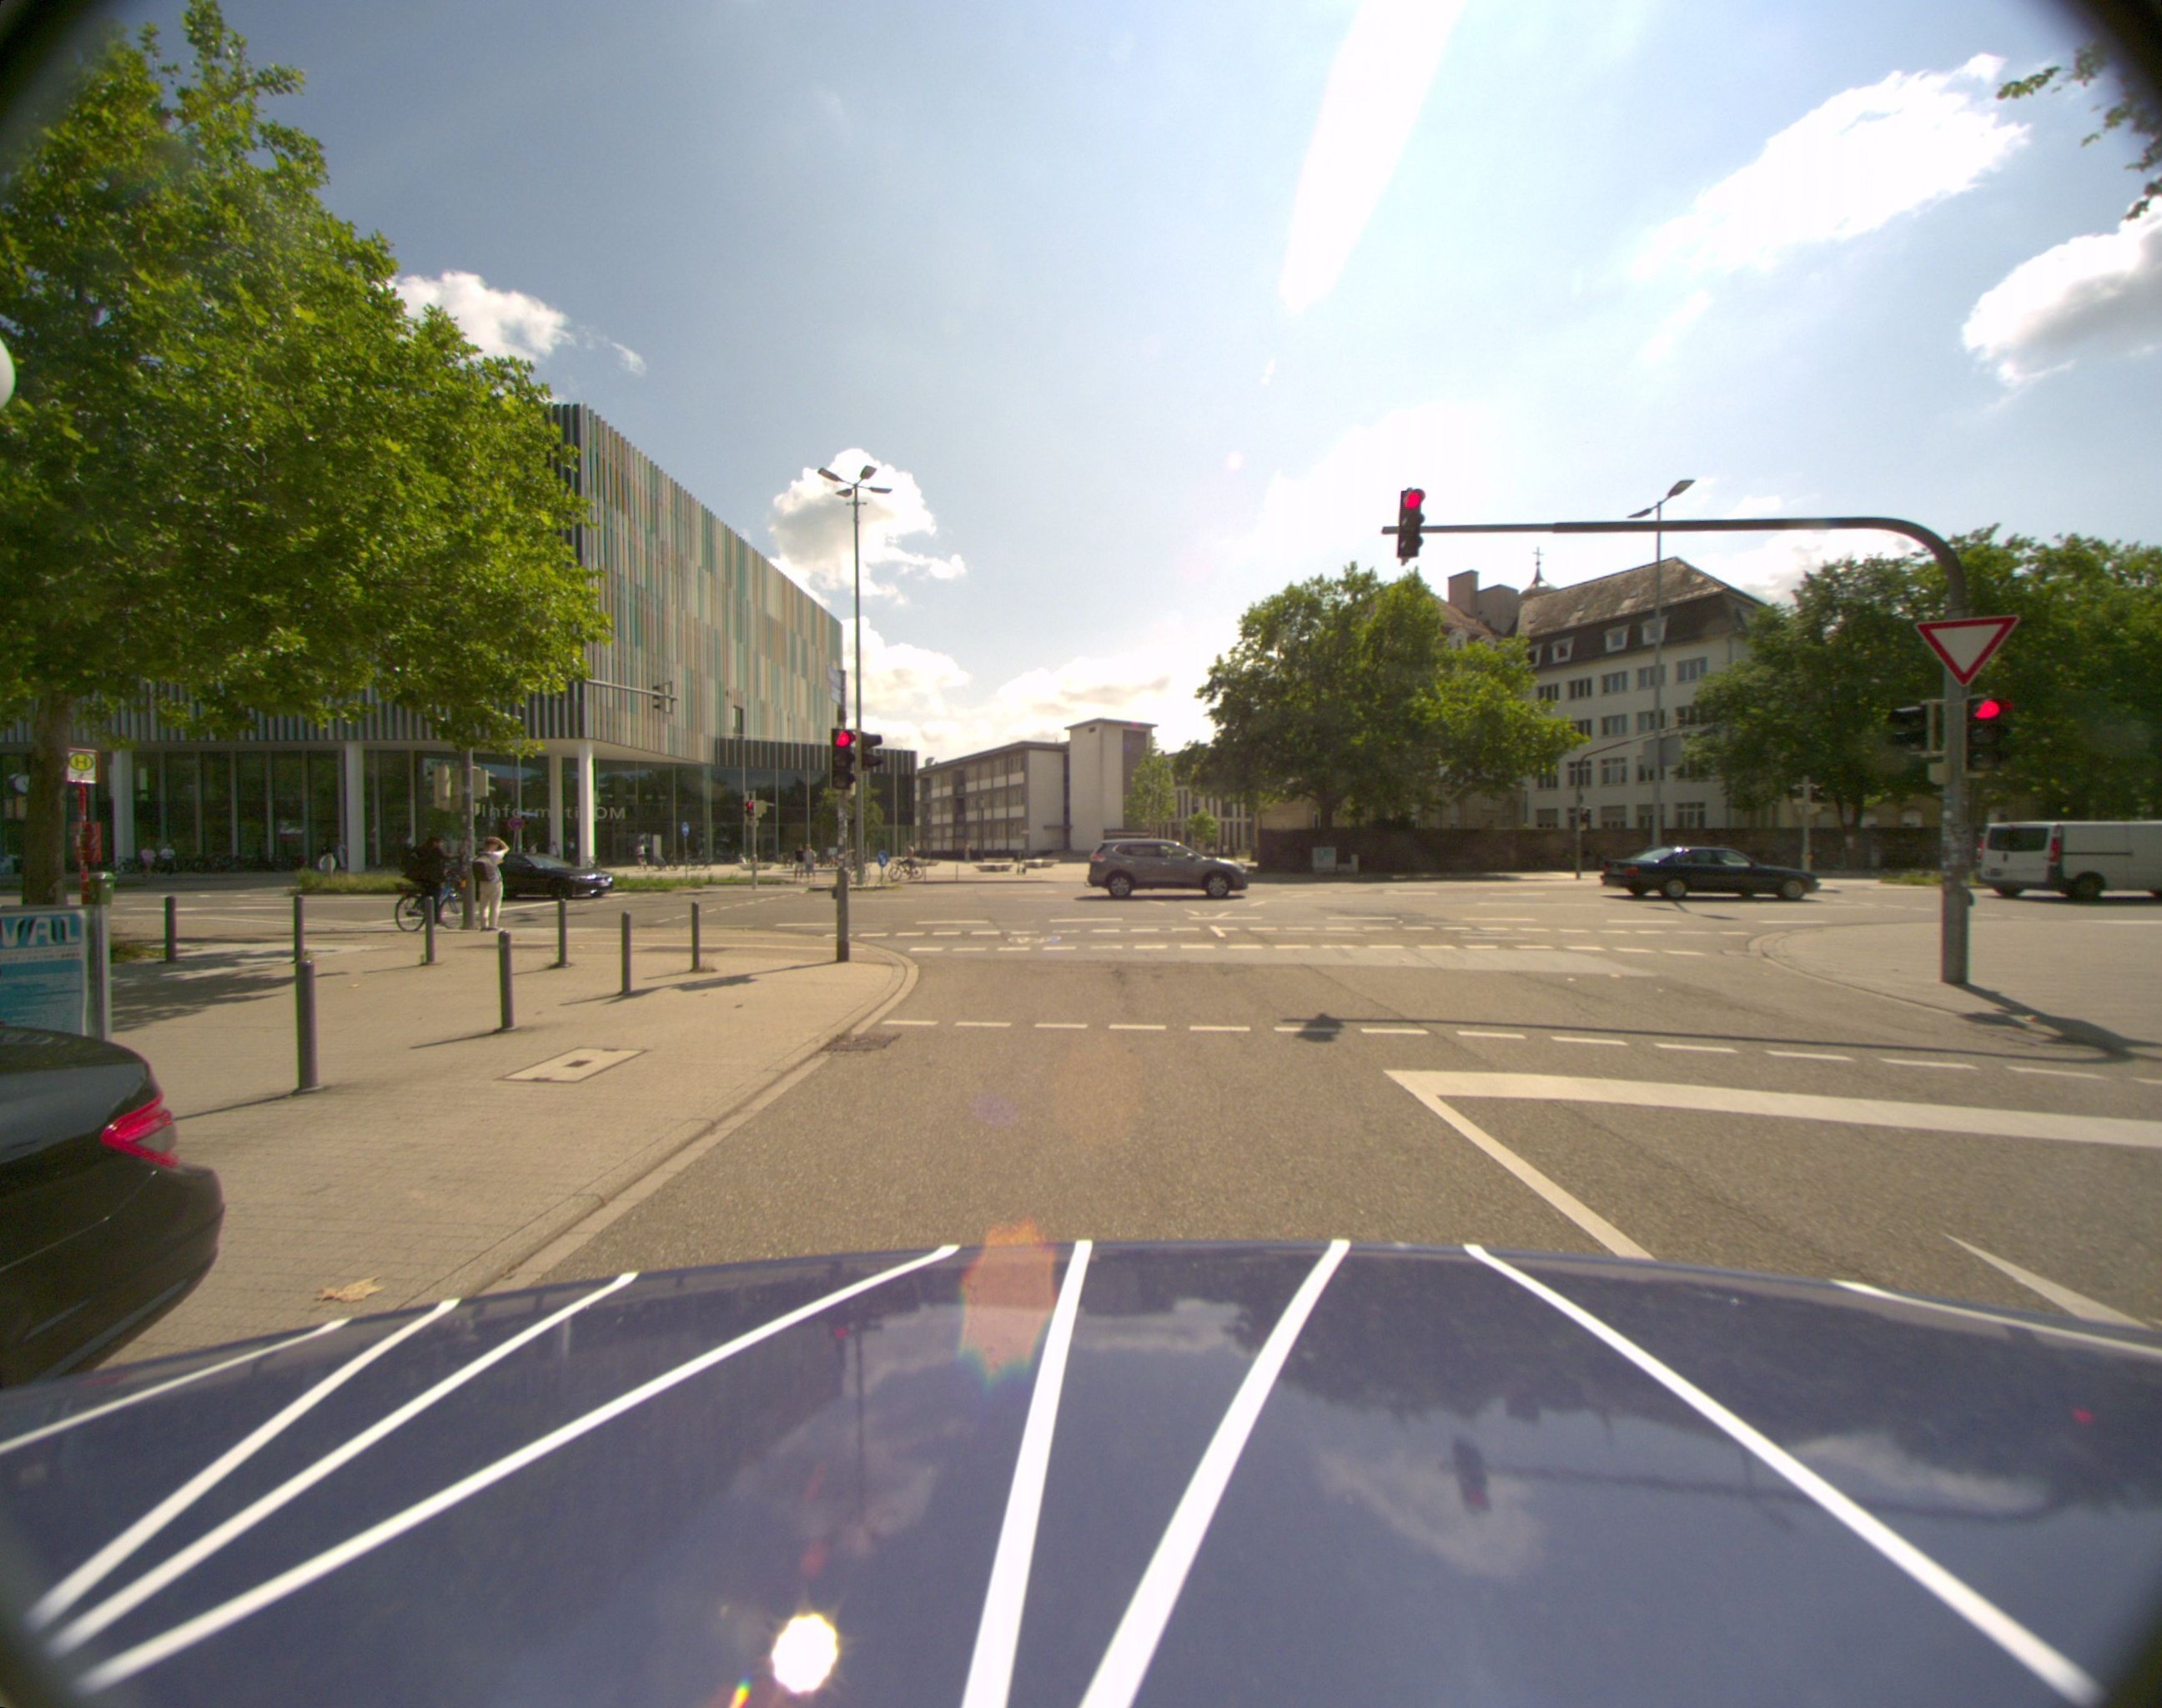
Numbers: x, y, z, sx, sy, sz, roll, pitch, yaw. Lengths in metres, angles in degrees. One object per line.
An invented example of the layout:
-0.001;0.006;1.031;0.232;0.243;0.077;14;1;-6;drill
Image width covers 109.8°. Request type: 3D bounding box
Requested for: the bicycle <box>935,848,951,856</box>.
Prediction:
-15.852;-0.219;87.485;1.776;0.950;0.527;-1;3;-26;bicycle

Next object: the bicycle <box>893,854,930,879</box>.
-8.299;0.600;37.203;1.673;1.118;0.694;-1;2;-23;bicycle

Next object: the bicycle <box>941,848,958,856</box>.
-14.873;-0.222;85.829;1.776;0.950;0.527;-1;3;-26;bicycle

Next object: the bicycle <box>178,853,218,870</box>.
-54.553;0.459;46.949;0.373;0.950;1.548;0;3;17;bicycle

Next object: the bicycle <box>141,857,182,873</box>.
-57.296;0.680;47.349;0.373;0.950;1.548;0;3;17;bicycle

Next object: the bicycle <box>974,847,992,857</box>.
-10.151;-0.188;78.417;1.776;0.950;0.527;-1;3;-26;bicycle

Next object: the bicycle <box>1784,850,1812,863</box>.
38.790;0.132;41.113;0.409;0.678;1.004;-3;4;-36;bicycle

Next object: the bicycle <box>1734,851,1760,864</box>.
35.735;0.183;40.773;0.409;0.678;1.004;-3;4;-36;bicycle

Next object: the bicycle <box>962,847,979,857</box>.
-11.706;-0.219;80.493;1.776;0.950;0.527;-1;3;-26;bicycle

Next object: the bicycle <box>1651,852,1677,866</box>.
30.852;0.252;40.219;0.409;0.678;1.004;-3;4;-36;bicycle

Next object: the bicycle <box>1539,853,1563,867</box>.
24.745;0.317;40.028;0.409;0.678;1.005;-2;3;-23;bicycle

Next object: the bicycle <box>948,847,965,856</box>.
-13.841;-0.232;84.316;1.776;0.950;0.527;-1;3;-26;bicycle

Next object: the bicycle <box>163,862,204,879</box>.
-55.706;1.022;47.167;0.373;0.950;1.548;0;3;17;bicycle

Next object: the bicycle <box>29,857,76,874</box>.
-64.472;0.715;47.638;0.433;0.950;1.784;-1;3;2;bicycle

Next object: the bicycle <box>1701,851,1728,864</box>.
34.047;0.195;40.841;0.409;0.678;1.004;-3;4;-36;bicycle

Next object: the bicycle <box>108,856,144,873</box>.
-58.191;0.626;46.325;0.373;0.950;1.544;-1;3;-9;bicycle

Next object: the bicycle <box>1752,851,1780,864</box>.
36.741;0.174;40.757;0.409;0.678;1.004;-3;4;-36;bicycle

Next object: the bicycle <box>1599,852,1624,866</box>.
28.197;0.268;40.407;0.409;0.678;1.005;-2;3;-23;bicycle

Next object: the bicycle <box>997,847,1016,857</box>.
-7.290;-0.206;74.411;1.776;0.950;0.527;-1;3;-26;bicycle

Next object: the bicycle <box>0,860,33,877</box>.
-67.006;0.907;47.472;0.433;0.950;1.784;-1;3;2;bicycle

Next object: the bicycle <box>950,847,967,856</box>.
-13.535;-0.247;83.734;1.776;0.950;0.527;-1;3;-26;bicycle

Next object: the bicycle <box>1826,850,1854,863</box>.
41.325;0.128;41.373;0.409;0.678;1.004;-3;4;-36;bicycle

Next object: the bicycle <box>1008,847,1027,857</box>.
-6.033;-0.179;72.479;1.775;0.950;0.528;-1;3;-24;bicycle

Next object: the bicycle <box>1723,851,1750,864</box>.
35.113;0.190;40.724;0.409;0.678;1.004;-3;4;-36;bicycle

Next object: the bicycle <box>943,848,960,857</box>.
-14.637;-0.190;85.846;1.776;0.950;0.527;-1;3;-26;bicycle

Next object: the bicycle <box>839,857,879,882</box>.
-10.445;0.732;35.748;1.673;1.118;0.693;-2;2;-26;bicycle

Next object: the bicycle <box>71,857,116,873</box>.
-62.019;0.680;47.730;0.433;0.950;1.784;-1;3;2;bicycle

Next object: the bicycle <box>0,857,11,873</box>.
-68.596;0.734;47.635;0.433;0.950;1.784;-1;3;2;bicycle

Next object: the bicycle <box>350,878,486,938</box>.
-12.585;1.002;14.520;0.817;1.066;1.892;0;-2;5;bicycle

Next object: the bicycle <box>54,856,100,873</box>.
-63.231;0.653;47.860;0.433;0.950;1.784;-1;3;2;bicycle

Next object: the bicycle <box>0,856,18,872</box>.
-68.137;0.649;47.631;0.433;0.950;1.784;-1;3;2;bicycle

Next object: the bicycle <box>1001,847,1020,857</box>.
-6.845;-0.224;73.626;1.776;0.950;0.527;-1;3;-26;bicycle

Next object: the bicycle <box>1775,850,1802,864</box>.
38.035;0.157;40.865;0.409;0.678;1.004;-3;4;-36;bicycle

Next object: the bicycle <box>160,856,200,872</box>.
-56.093;0.616;47.334;0.373;0.950;1.548;0;3;17;bicycle

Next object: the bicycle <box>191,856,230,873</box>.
-53.721;0.637;46.900;0.373;0.950;1.548;0;3;17;bicycle

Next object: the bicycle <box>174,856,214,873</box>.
-55.059;0.658;47.192;0.373;0.950;1.548;0;3;17;bicycle

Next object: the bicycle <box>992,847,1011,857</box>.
-7.910;-0.202;75.549;1.776;0.950;0.527;-1;3;-26;bicycle

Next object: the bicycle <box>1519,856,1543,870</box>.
23.585;0.473;39.850;0.409;0.678;1.005;-2;3;-23;bicycle

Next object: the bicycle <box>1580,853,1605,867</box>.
27.018;0.291;40.131;0.409;0.678;1.005;-2;3;-23;bicycle

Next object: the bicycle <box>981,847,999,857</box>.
-9.260;-0.201;77.562;1.776;0.950;0.527;-1;3;-26;bicycle

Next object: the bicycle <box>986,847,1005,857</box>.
-8.636;-0.204;76.656;1.776;0.950;0.527;-1;3;-26;bicycle

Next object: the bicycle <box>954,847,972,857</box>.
-12.798;-0.216;82.395;1.776;0.950;0.527;-1;3;-26;bicycle

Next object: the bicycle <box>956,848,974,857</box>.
-12.457;-0.131;81.573;1.776;0.950;0.527;-1;3;-26;bicycle

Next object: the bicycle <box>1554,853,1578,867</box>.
25.624;0.303;40.158;0.409;0.678;1.005;-2;3;-23;bicycle
